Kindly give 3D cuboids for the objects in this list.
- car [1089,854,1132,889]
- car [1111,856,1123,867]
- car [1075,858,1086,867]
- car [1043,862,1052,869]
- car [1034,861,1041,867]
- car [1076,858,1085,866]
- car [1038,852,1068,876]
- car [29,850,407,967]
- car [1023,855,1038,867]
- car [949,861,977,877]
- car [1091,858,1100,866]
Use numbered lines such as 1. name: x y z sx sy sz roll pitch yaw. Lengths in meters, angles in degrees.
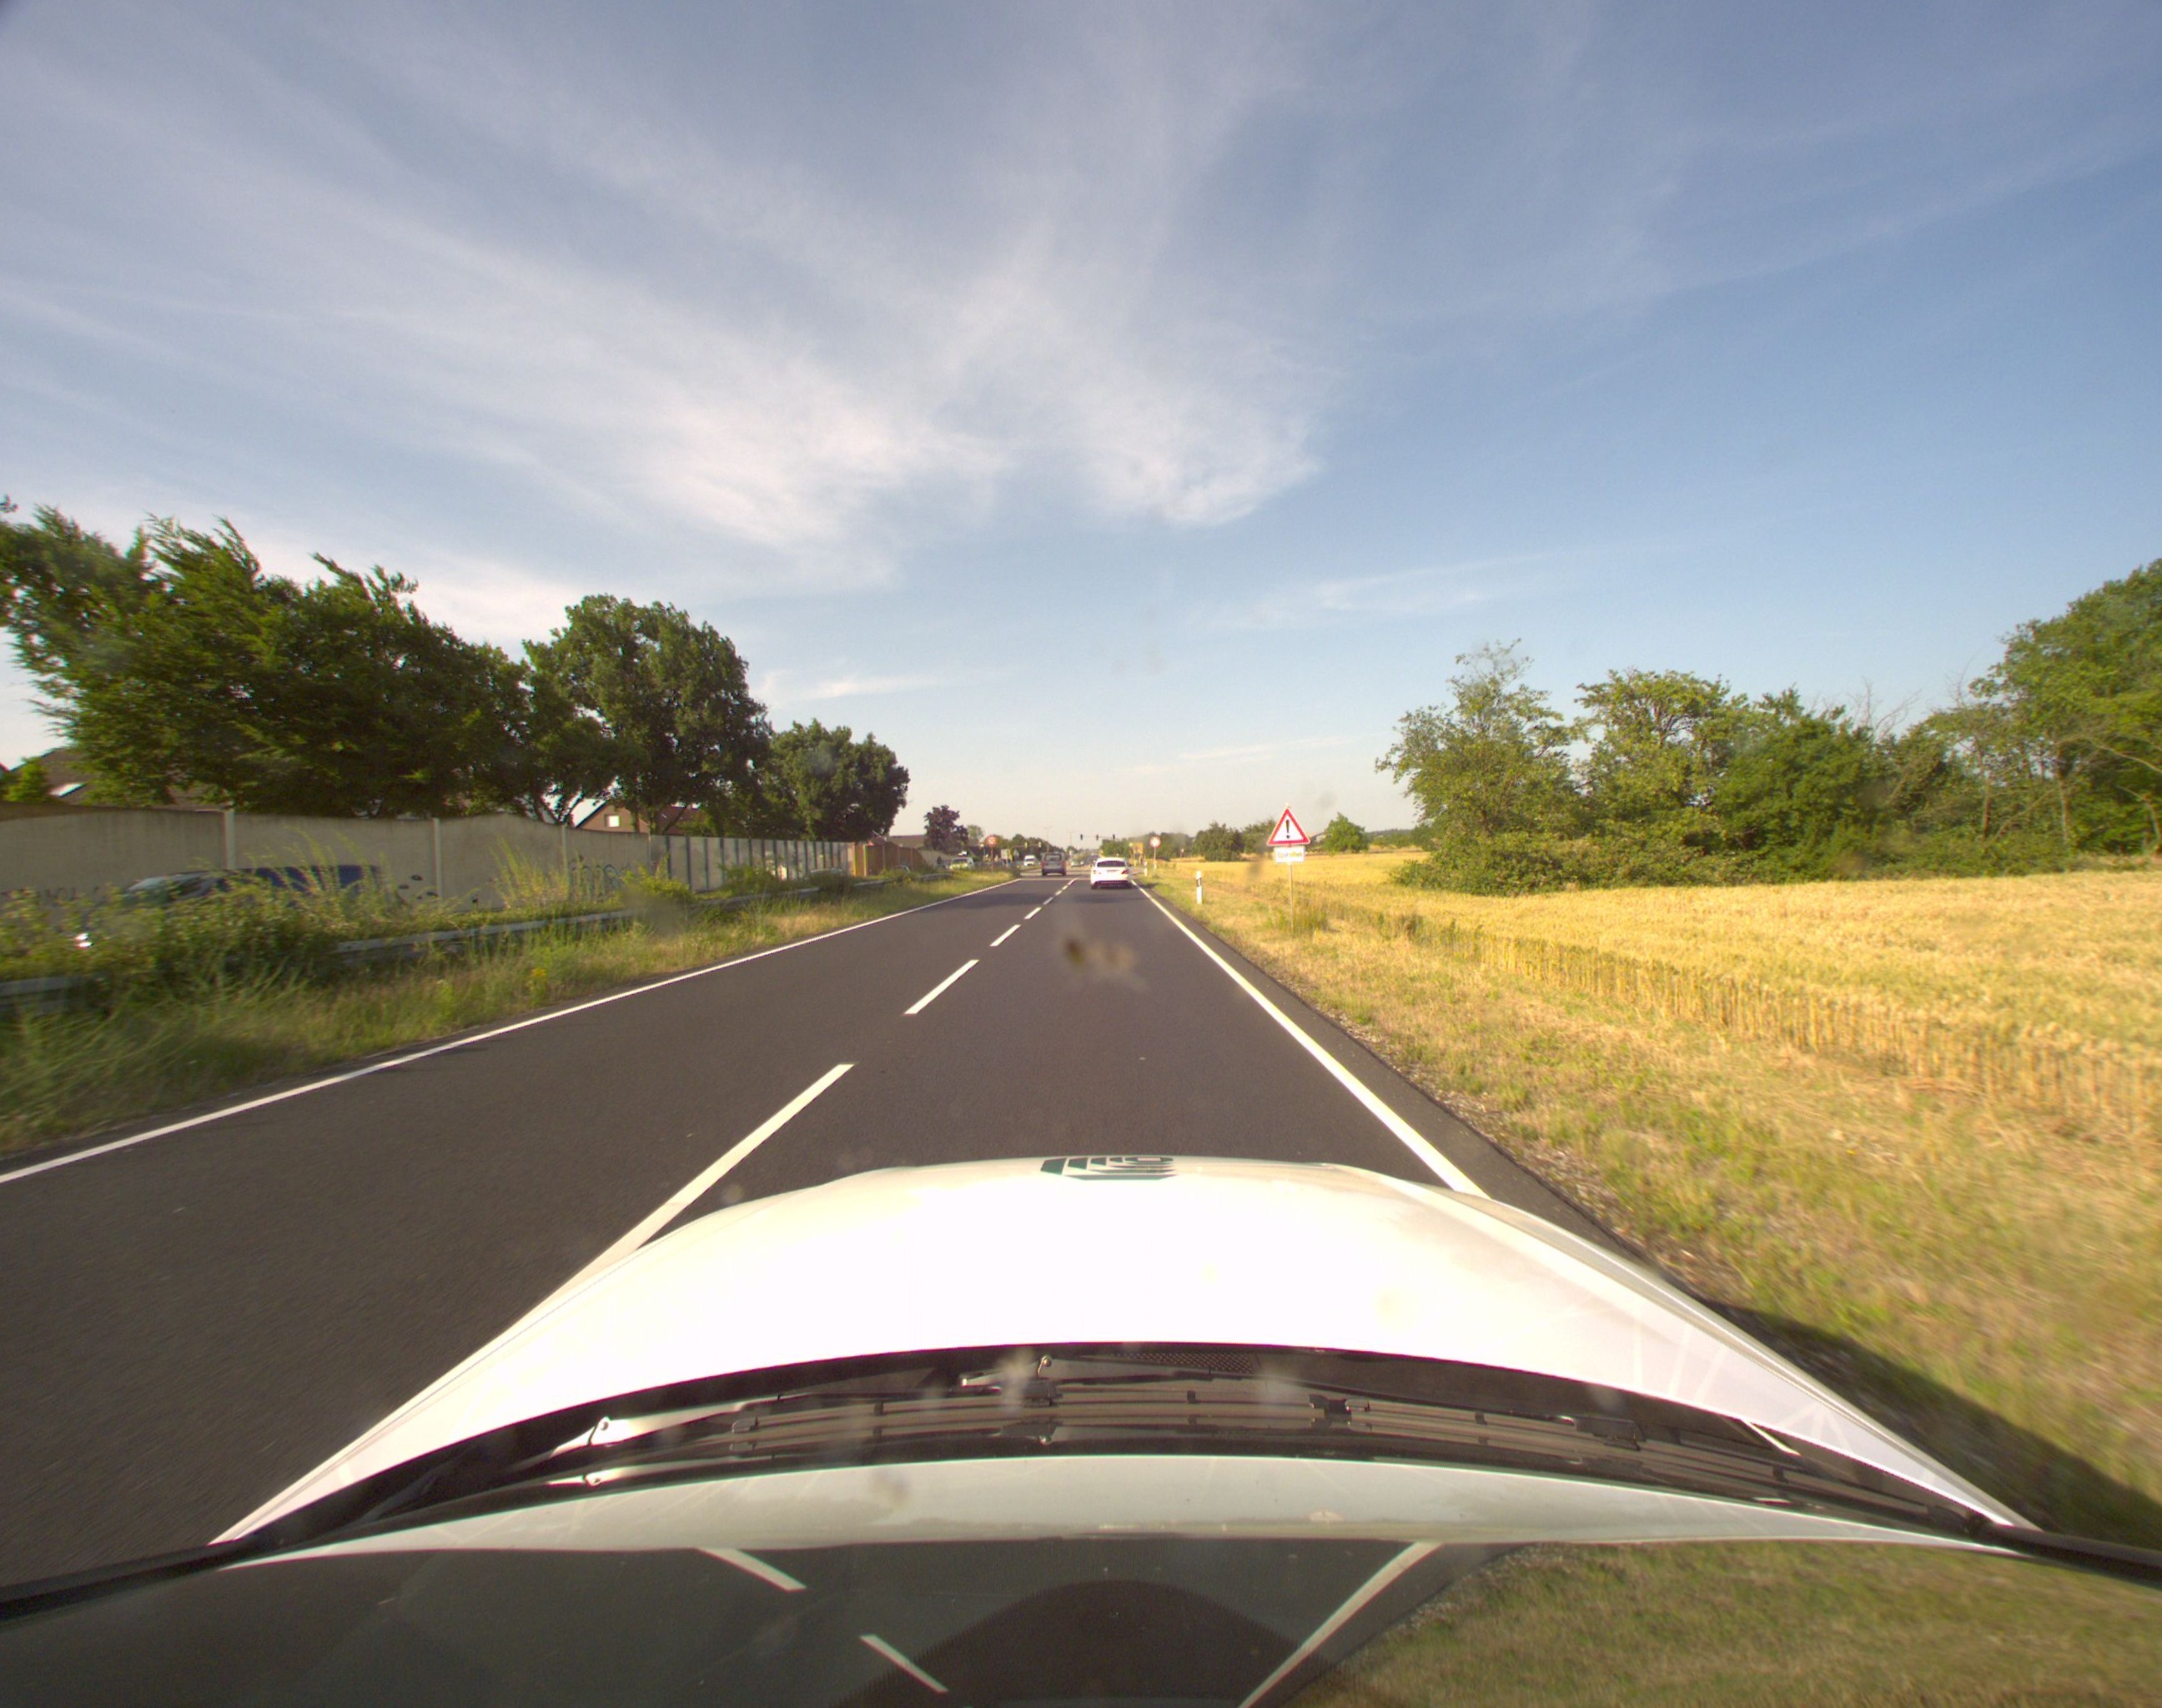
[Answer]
1. car: 1.341 0.795 38.155 1.888 1.509 4.000 -1 0 1
2. car: 5.554 1.185 127.360 1.747 1.517 4.001 -2 0 2
3. car: -0.062 1.451 141.926 1.711 1.492 3.585 -1 0 1
4. car: -7.910 2.606 191.311 1.725 1.625 4.922 -1 0 1
5. car: -12.038 2.698 225.796 1.716 1.706 4.001 -1 0 2
6. car: -0.130 1.779 177.197 1.771 1.665 3.660 -1 0 -2
7. car: -2.239 0.776 66.271 2.017 1.892 4.960 -1 0 2
8. car: -15.603 0.875 15.231 1.986 1.824 4.683 -1 0 2
9. car: -9.782 1.375 156.917 2.340 2.303 7.191 -1 0 1
10. car: -11.524 1.450 79.677 1.974 1.484 5.060 -1 0 0
11. car: 3.137 1.818 179.216 1.835 1.684 3.996 -1 0 -3
